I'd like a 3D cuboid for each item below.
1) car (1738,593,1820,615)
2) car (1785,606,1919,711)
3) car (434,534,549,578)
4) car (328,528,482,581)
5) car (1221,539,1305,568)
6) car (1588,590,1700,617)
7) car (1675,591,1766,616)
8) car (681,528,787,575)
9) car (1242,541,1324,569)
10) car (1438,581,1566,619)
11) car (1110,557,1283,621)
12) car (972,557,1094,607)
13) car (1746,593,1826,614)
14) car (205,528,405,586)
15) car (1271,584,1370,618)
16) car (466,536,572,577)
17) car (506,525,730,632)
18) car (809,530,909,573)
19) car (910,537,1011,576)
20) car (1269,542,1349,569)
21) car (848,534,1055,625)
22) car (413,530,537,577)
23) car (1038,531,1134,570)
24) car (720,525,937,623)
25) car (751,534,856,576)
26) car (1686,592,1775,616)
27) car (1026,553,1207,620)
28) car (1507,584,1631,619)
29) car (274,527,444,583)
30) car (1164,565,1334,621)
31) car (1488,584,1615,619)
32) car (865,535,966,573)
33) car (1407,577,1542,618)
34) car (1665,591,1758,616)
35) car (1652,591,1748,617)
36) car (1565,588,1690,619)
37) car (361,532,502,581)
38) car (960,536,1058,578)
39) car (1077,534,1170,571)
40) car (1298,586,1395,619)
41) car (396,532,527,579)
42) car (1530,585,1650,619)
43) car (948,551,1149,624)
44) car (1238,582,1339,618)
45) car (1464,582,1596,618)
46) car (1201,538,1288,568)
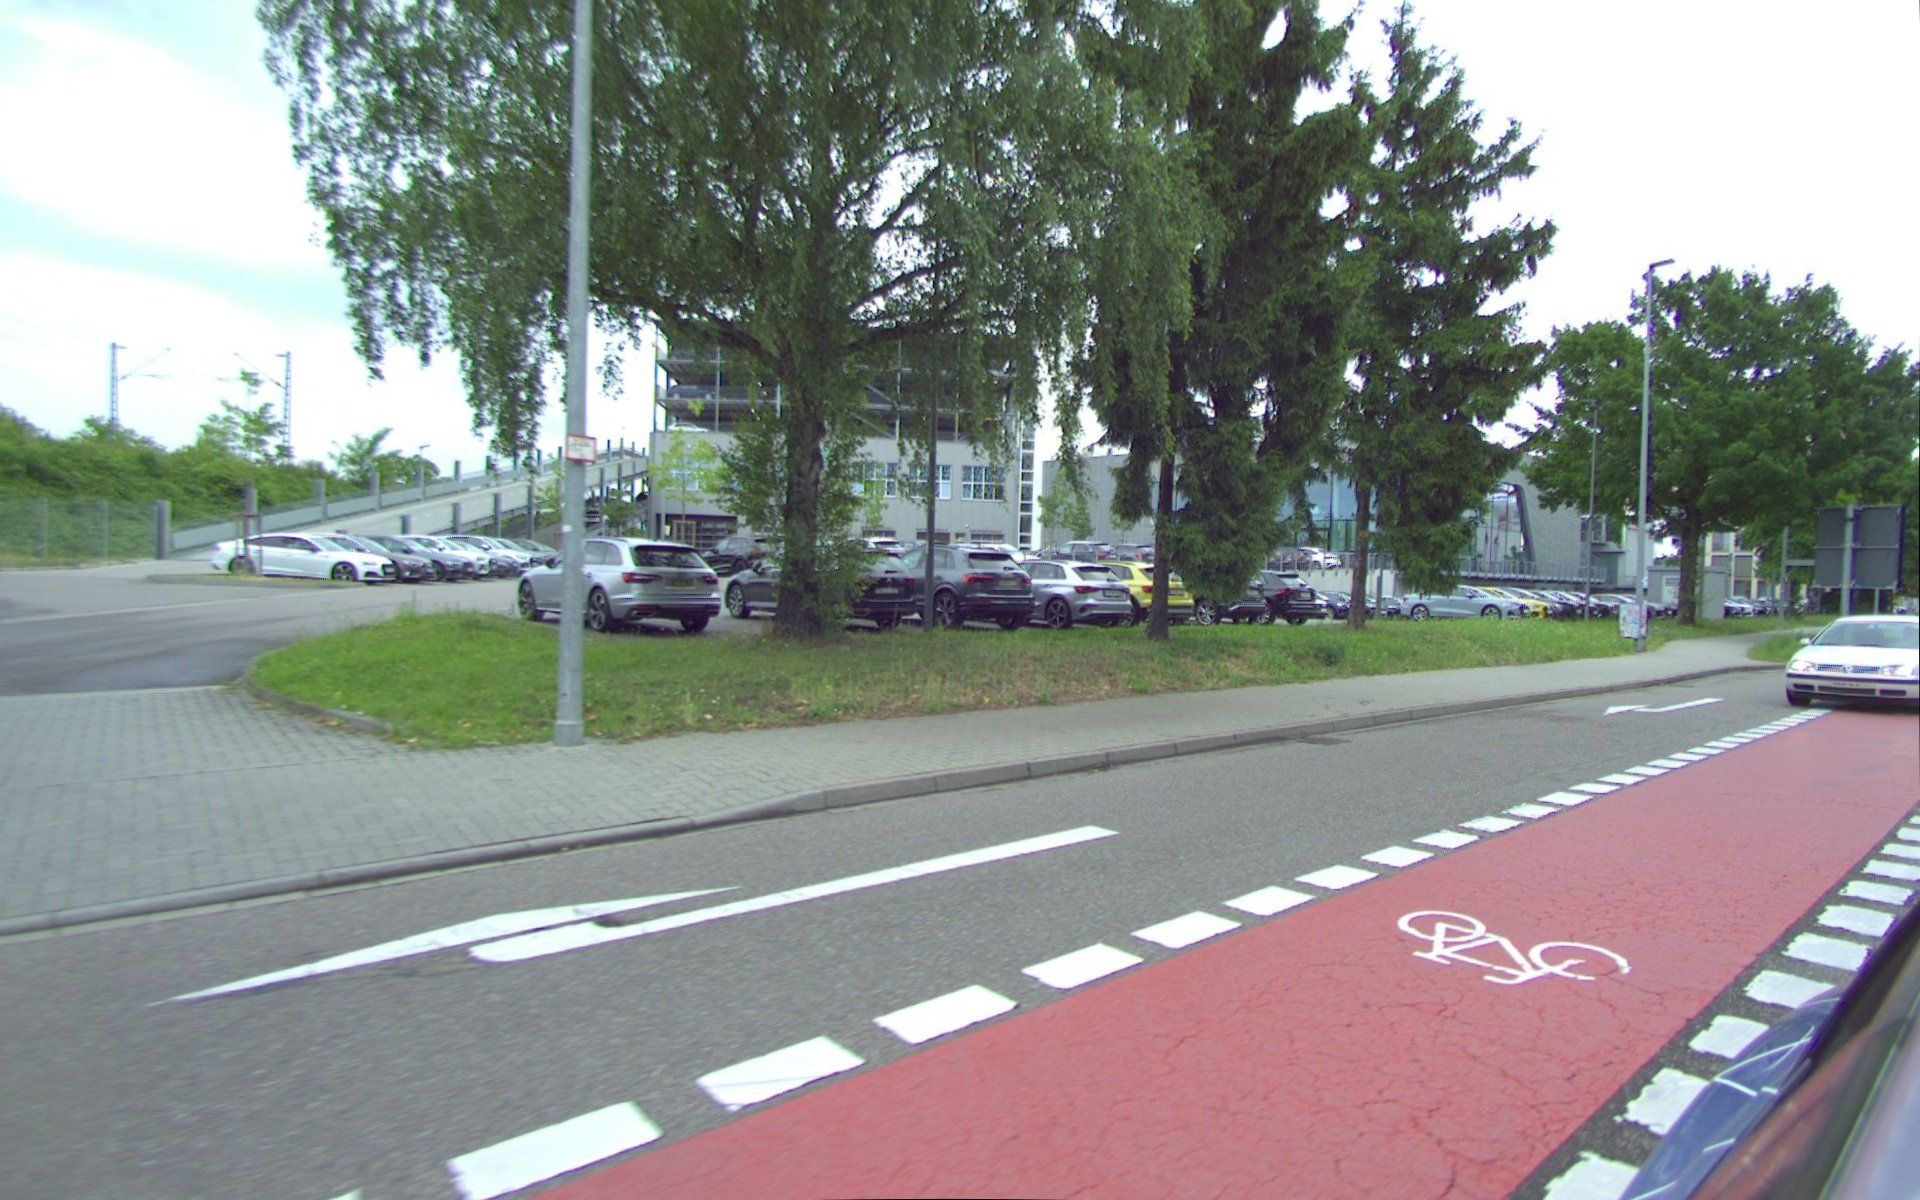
[{"bbox_3d":[54.971,0.283,68.013,1.697,1.410,4.037,1,-1,-40],"label":"car"},{"bbox_3d":[14.697,0.838,15.870,3.865,1.442,1.728,1,0,-35],"label":"car"},{"bbox_3d":[-20.749,-1.930,44.954,4.225,1.828,1.971,0,-1,-6],"label":"car"},{"bbox_3d":[-19.026,-1.538,34.860,4.225,1.712,1.971,0,-1,-6],"label":"car"},{"bbox_3d":[17.244,-2.597,57.661,1.801,1.381,4.303,1,-1,-42],"label":"car"},{"bbox_3d":[34.241,0.198,50.744,1.831,1.333,4.305,1,-1,-40],"label":"car"},{"bbox_3d":[45.125,0.242,60.076,1.697,1.410,4.037,1,-1,-40],"label":"car"},{"bbox_3d":[-7.984,-1.647,35.491,1.801,1.391,4.303,1,-1,-42],"label":"car"},{"bbox_3d":[18.954,-2.637,59.456,1.801,1.381,4.303,1,-1,-42],"label":"car"},{"bbox_3d":[21.144,0.030,39.586,1.763,1.395,4.054,1,-1,-39],"label":"car"},{"bbox_3d":[5.786,-0.225,25.037,1.919,1.441,3.757,1,-1,-41],"label":"car"},{"bbox_3d":[2.596,-0.670,36.815,1.868,1.647,4.305,3,0,-41],"label":"car"},{"bbox_3d":[56.846,0.282,69.725,1.697,1.410,4.037,1,-1,-40],"label":"car"},{"bbox_3d":[-19.257,-1.241,29.943,4.579,1.587,1.907,0,-1,-8],"label":"car"},{"bbox_3d":[17.900,0.064,50.424,1.868,1.621,4.305,1,-1,-40],"label":"car"},{"bbox_3d":[-20.821,-2.041,47.908,4.225,1.828,1.971,0,-1,-6],"label":"car"},{"bbox_3d":[-5.650,-0.354,16.426,4.299,1.508,1.712,2,1,45],"label":"car"},{"bbox_3d":[-3.949,-1.816,39.150,1.670,1.400,4.303,1,-1,-42],"label":"car"},{"bbox_3d":[-0.026,-1.756,42.136,1.801,1.389,4.303,1,-1,-42],"label":"car"},{"bbox_3d":[21.061,-2.682,61.191,1.801,1.381,4.303,1,-1,-42],"label":"car"},{"bbox_3d":[-0.283,-0.338,20.303,1.934,1.621,4.306,1,-1,-39],"label":"car"},{"bbox_3d":[-20.133,-1.895,42.165,4.225,1.828,1.971,0,-1,-6],"label":"car"},{"bbox_3d":[5.831,-2.273,47.107,1.827,1.546,4.303,1,-1,-42],"label":"car"},{"bbox_3d":[-2.560,-0.396,18.898,1.935,1.621,4.302,1,-1,-42],"label":"car"},{"bbox_3d":[-5.833,-1.607,37.281,1.801,1.307,4.303,1,-1,-42],"label":"car"},{"bbox_3d":[46.862,0.251,61.585,1.697,1.410,4.037,1,-1,-40],"label":"car"},{"bbox_3d":[3.518,-0.259,23.325,1.777,1.396,4.004,1,-1,-38],"label":"car"},{"bbox_3d":[26.630,0.080,44.377,1.811,1.463,4.305,1,-1,-40],"label":"car"},{"bbox_3d":[-19.143,-1.414,32.403,4.225,1.674,1.971,0,-1,-6],"label":"car"},{"bbox_3d":[7.588,-0.142,26.827,1.868,1.371,4.000,1,-1,-39],"label":"car"},{"bbox_3d":[24.938,0.092,42.799,1.806,1.396,4.305,1,-1,-40],"label":"car"},{"bbox_3d":[-1.856,-1.830,40.850,1.801,1.263,4.303,1,-1,-42],"label":"car"},{"bbox_3d":[19.291,-0.048,38.095,1.708,1.450,4.195,1,-1,-40],"label":"car"},{"bbox_3d":[43.304,0.238,58.377,1.697,1.410,4.037,1,-1,-40],"label":"car"},{"bbox_3d":[41.502,0.235,56.829,1.697,1.410,4.037,1,-1,-40],"label":"car"},{"bbox_3d":[32.382,0.204,49.233,1.868,1.442,4.759,1,-1,-40],"label":"car"},{"bbox_3d":[-19.514,-1.595,37.521,4.225,1.682,1.971,0,-1,-6],"label":"car"},{"bbox_3d":[2.072,-1.821,43.926,1.801,1.554,4.303,1,-1,-42],"label":"car"},{"bbox_3d":[7.852,-2.251,48.932,1.801,1.545,4.303,1,-1,-42],"label":"car"},{"bbox_3d":[19.825,0.148,51.985,1.868,1.621,4.305,1,-1,-40],"label":"car"},{"bbox_3d":[-19.639,-1.736,40.025,4.225,1.757,1.971,0,-1,-6],"label":"car"},{"bbox_3d":[28.585,0.115,46.025,1.811,1.463,4.305,1,-1,-40],"label":"car"},{"bbox_3d":[1.792,-0.210,21.744,1.868,1.400,4.306,1,-1,-39],"label":"car"},{"bbox_3d":[15.775,-0.039,48.716,1.868,1.621,4.306,0,1,-40],"label":"car"},{"bbox_3d":[22.961,0.039,40.892,1.708,1.375,4.305,1,-1,-40],"label":"car"},{"bbox_3d":[15.541,-2.566,55.501,1.801,1.381,4.303,1,-1,-42],"label":"car"}]
